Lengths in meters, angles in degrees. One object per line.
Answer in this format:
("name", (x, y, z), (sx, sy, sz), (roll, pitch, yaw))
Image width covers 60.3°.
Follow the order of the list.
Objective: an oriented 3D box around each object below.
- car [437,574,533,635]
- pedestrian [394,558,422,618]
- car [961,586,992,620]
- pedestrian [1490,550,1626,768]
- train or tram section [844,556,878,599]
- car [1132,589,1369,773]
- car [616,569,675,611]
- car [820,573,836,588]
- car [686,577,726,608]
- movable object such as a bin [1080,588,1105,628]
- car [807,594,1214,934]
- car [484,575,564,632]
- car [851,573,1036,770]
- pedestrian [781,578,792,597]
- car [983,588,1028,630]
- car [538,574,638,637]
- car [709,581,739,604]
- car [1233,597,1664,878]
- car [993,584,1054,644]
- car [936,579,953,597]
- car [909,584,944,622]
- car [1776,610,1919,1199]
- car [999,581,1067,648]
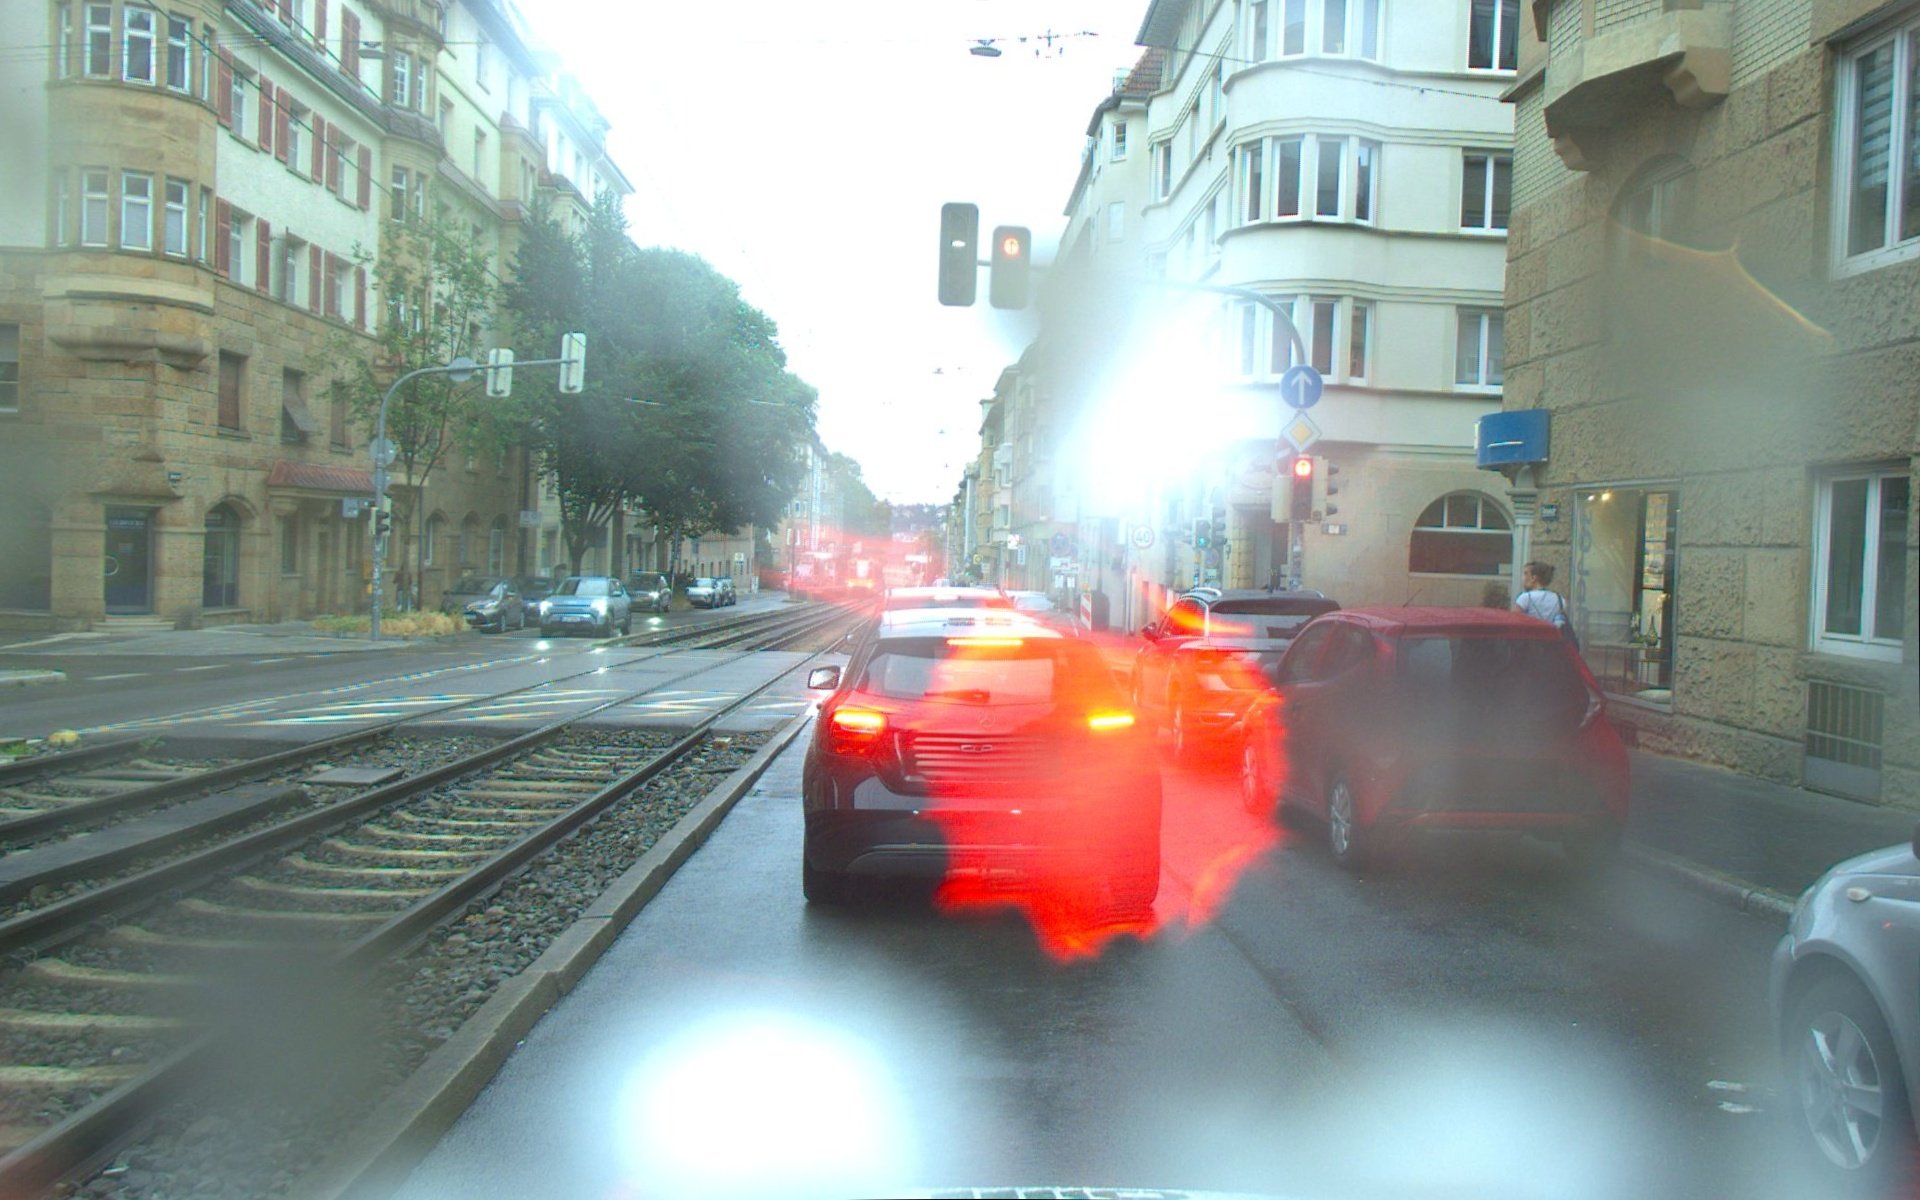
("car", (-13.006, 0.131, 45.490), (1.718, 1.579, 4.032), (1, 0, -4))
("pedestrian", (-15.660, -0.335, 46.928), (0.619, 1.702, 0.701), (1, -1, -10))
("car", (0.729, 0.126, 73.601), (1.268, 1.467, 2.928), (1, 0, -1))
("pedestrian", (5.075, 0.486, 14.096), (0.726, 1.778, 1.111), (1, -1, -1))
("train or tram section", (-9.487, -2.079, 159.941), (2.726, 3.928, 10.427), (1, 0, -1))
("car", (2.638, 0.671, 15.791), (1.513, 1.512, 3.829), (1, 0, -1))
("car", (-13.556, -0.409, 71.500), (1.837, 1.767, 3.917), (1, 0, -1))
("car", (-12.173, -1.778, 153.015), (1.349, 1.271, 3.296), (1, 0, -2))
("car", (-13.652, -0.379, 88.961), (1.557, 1.608, 3.917), (1, 0, -1))
("movable object such as a bin", (4.770, 0.295, 59.638), (0.859, 1.413, 0.983), (1, -1, 3))
("car", (0.198, 0.728, 9.446), (1.792, 1.483, 4.103), (1, 0, -1))
("car", (-13.270, 0.113, 50.517), (1.683, 1.639, 3.914), (1, 0, -5))
("car", (-0.169, 0.613, 15.830), (1.533, 1.637, 3.813), (1, 0, -1))
("pedestrian", (-19.101, -1.395, 182.423), (1.031, 1.992, 1.043), (2, 0, 0))
("car", (1.670, 0.320, 61.544), (1.513, 1.512, 3.547), (1, 0, -1))
("car", (-10.041, 0.146, 44.921), (1.860, 1.615, 3.972), (1, 0, -1))
("car", (-14.019, -0.435, 98.366), (1.419, 1.354, 3.270), (1, 0, -3))
("car", (2.913, 0.743, 10.556), (1.609, 1.473, 3.297), (1, 0, -3))
("car", (1.775, 0.371, 47.135), (1.513, 1.618, 3.547), (1, 0, -1))
("car", (-1.749, -1.354, 186.690), (1.953, 1.909, 3.999), (1, 0, -1))
("car", (-1.519, 0.128, 75.206), (1.513, 1.664, 3.685), (1, 0, -2))
("car", (3.131, 0.782, 3.096), (1.581, 1.493, 3.312), (0, 0, 0))
("car", (1.845, 0.345, 42.661), (1.513, 1.618, 3.547), (1, 0, -1))
